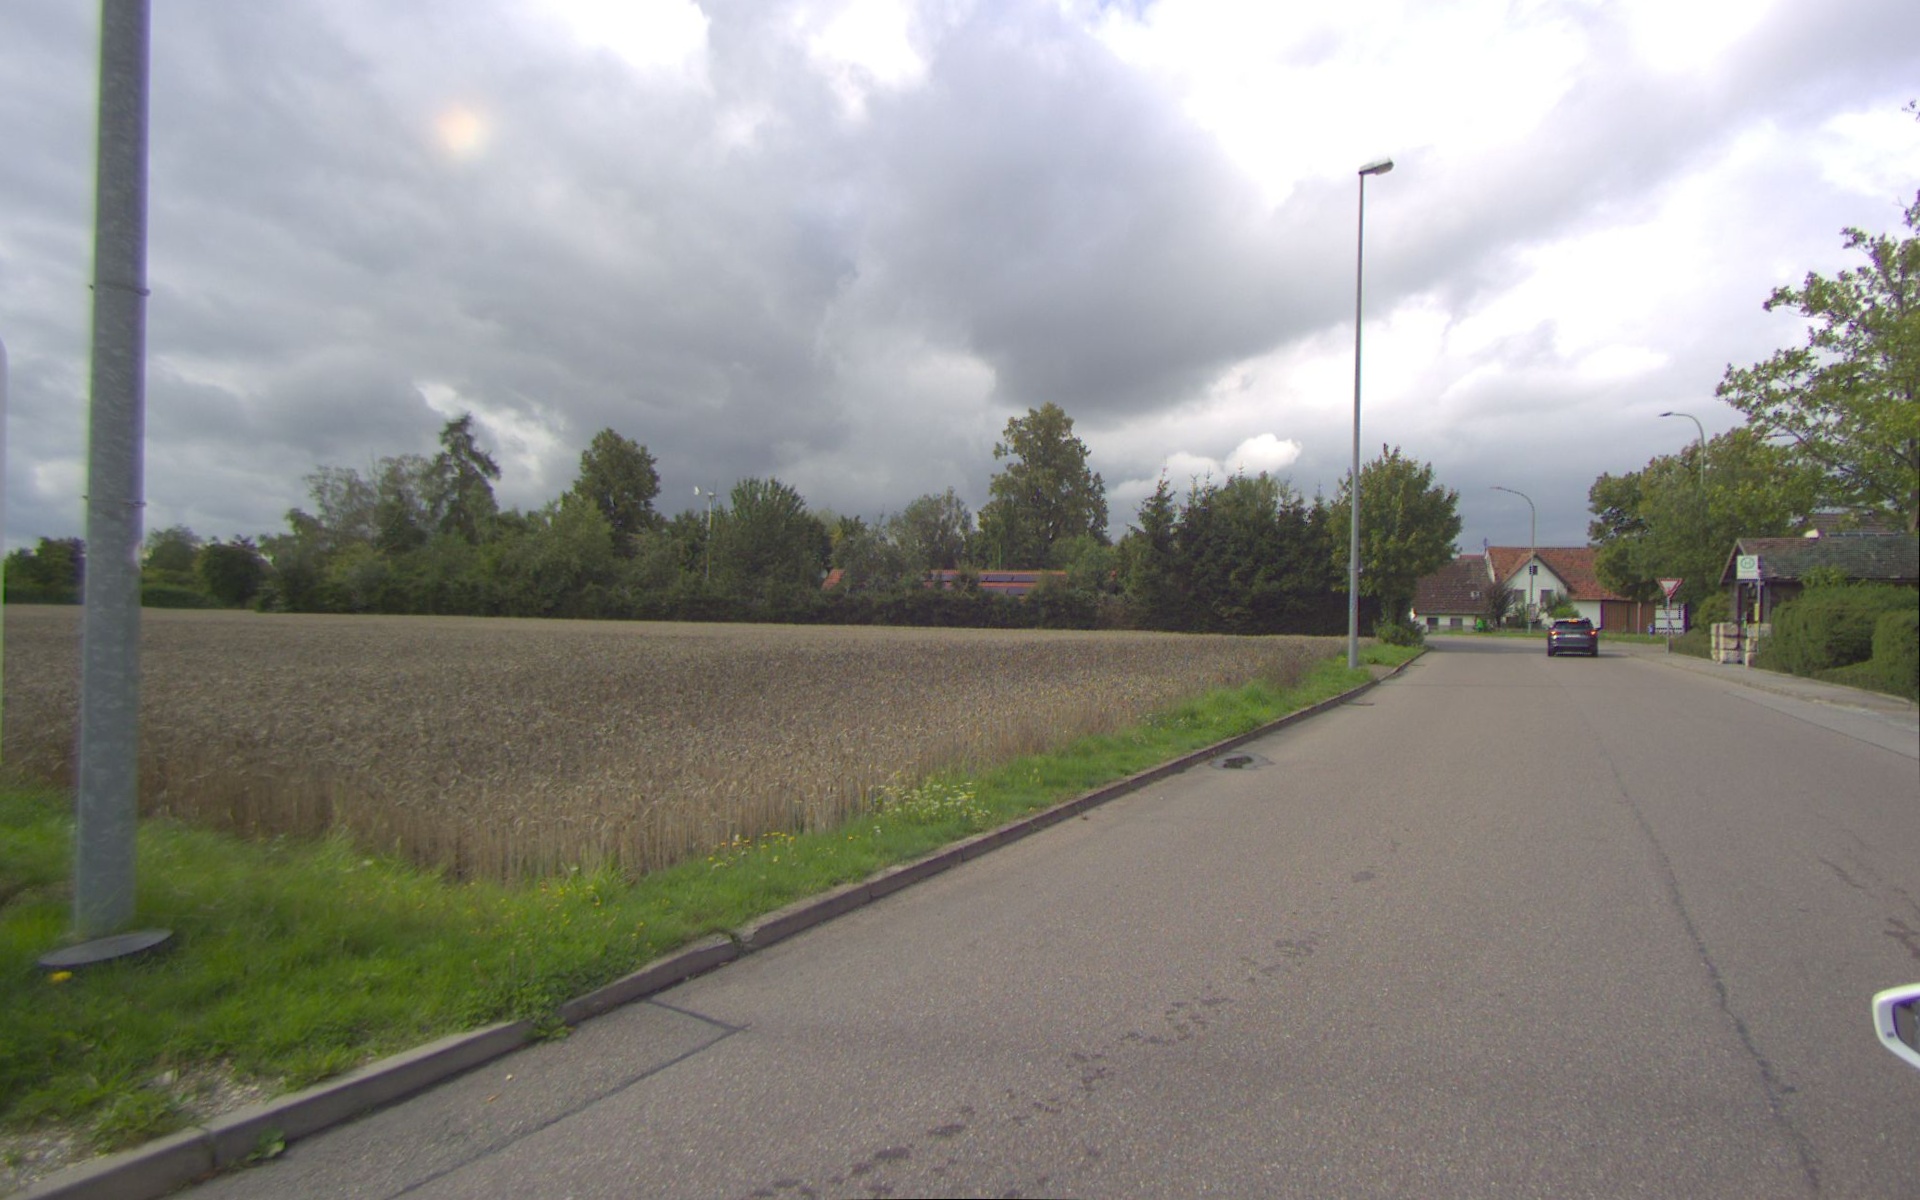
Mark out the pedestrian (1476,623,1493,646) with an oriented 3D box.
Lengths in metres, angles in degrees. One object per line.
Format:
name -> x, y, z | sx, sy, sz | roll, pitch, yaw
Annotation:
pedestrian -> 40.617, 2.673, 77.746 | 0.776, 1.687, 0.712 | 5, 0, -4

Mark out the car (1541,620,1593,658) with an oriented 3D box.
car -> 25.505, 1.609, 42.278 | 1.772, 1.482, 3.655 | 1, 0, 30

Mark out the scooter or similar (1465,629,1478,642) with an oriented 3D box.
scooter or similar -> 39.937, 2.744, 78.415 | 0.621, 0.960, 0.622 | 5, 0, -4
